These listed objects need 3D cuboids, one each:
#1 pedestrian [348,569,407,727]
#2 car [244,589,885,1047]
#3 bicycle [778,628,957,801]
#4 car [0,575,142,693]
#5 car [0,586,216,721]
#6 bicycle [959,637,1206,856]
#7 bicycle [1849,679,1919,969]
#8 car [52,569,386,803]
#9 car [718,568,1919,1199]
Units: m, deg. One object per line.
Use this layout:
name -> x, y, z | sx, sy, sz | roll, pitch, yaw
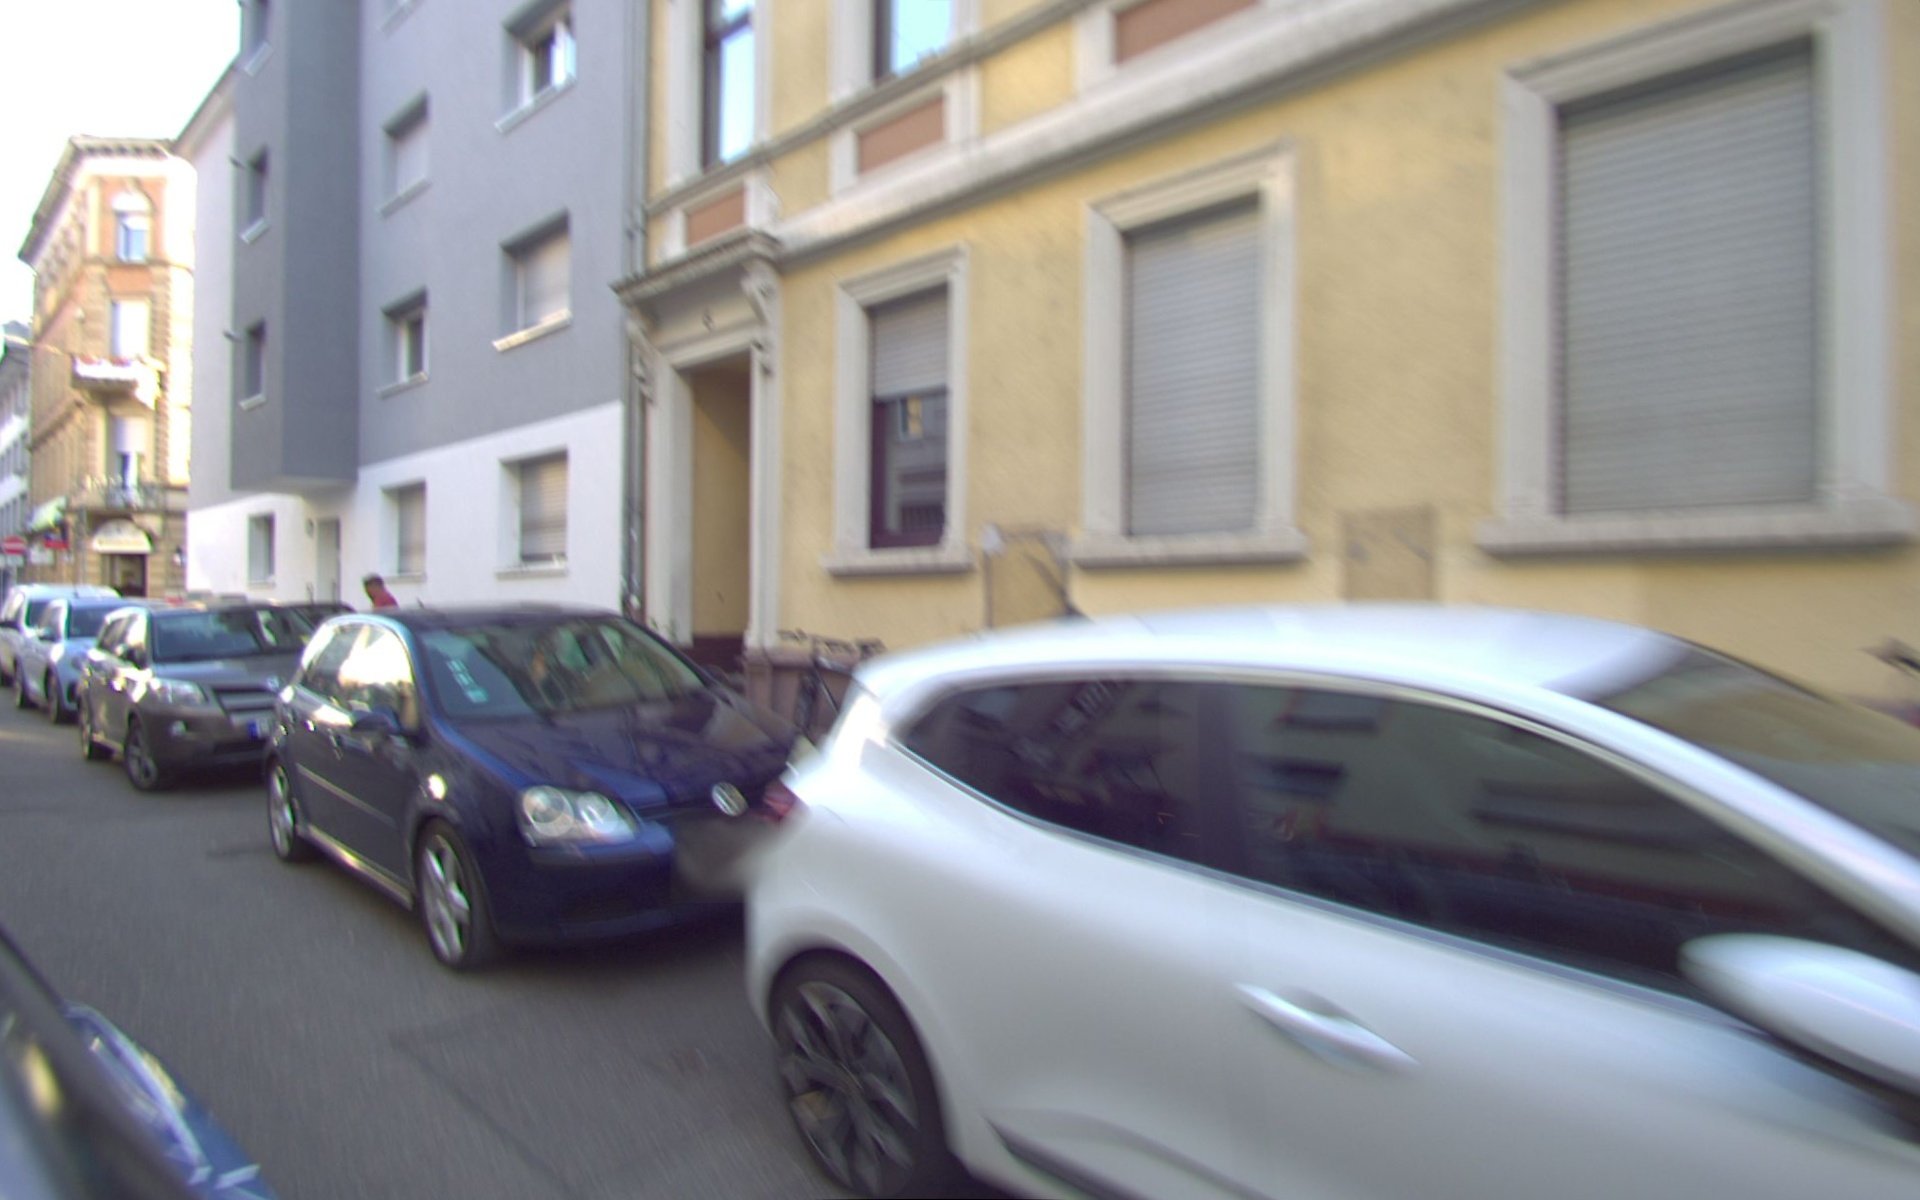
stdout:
pedestrian -> -6.716, 0.545, 11.667 | 0.455, 1.769, 0.450 | -1, -1, 40
car -> -2.314, 0.734, 5.293 | 3.955, 1.500, 1.620 | 0, -1, 44
bicycle -> -0.710, 0.780, 7.403 | 1.544, 1.123, 0.377 | 0, -1, 43
car -> -15.457, 0.535, 17.389 | 3.783, 1.810, 1.620 | 0, -1, 42
car -> -11.654, 0.645, 13.771 | 3.780, 1.592, 1.621 | 0, -1, 40
bicycle -> 0.683, 0.800, 6.031 | 1.544, 1.123, 0.377 | 0, -1, 43
bicycle -> 4.003, 0.814, 3.371 | 1.542, 1.016, 0.289 | 0, -1, 39
car -> -6.909, 0.650, 9.306 | 3.780, 1.724, 1.621 | 0, -1, 40
car -> 1.295, 0.724, 2.051 | 3.788, 1.500, 1.621 | 0, -1, 42
